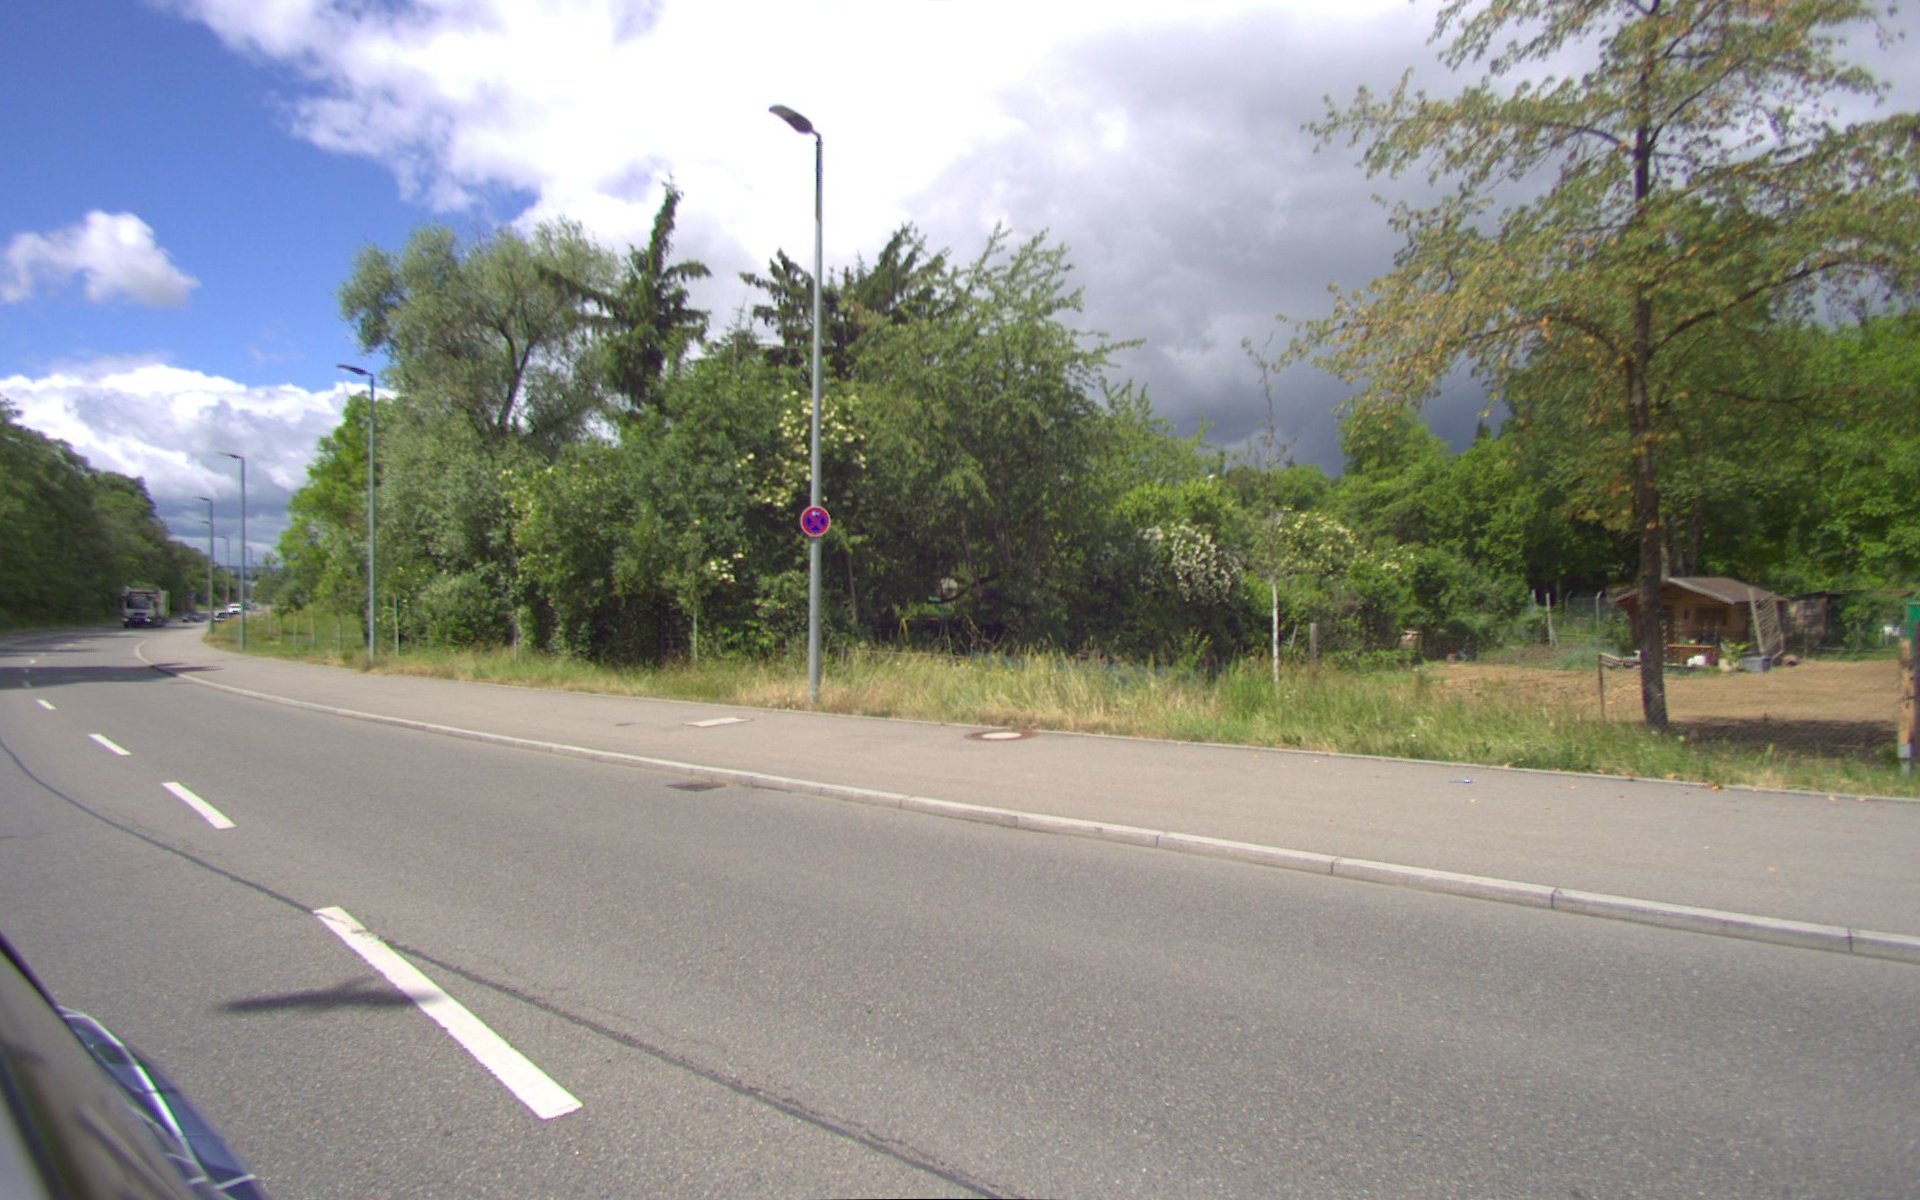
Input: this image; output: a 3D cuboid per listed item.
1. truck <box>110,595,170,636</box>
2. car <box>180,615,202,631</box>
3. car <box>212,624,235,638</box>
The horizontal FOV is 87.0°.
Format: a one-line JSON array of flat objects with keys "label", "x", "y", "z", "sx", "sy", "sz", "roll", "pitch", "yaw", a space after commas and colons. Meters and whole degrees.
[{"label": "truck", "x": -81.780, "y": 1.580, "z": 101.104, "sx": 3.188, "sy": 3.890, "sz": 9.903, "roll": 2, "pitch": -2, "yaw": -31}, {"label": "car", "x": -98.817, "y": 2.981, "z": 130.057, "sx": 1.966, "sy": 2.029, "sz": 4.011, "roll": 2, "pitch": -2, "yaw": -34}, {"label": "car", "x": -89.977, "y": 3.778, "z": 123.710, "sx": 1.774, "sy": 1.674, "sz": 4.012, "roll": 2, "pitch": -2, "yaw": -30}]
